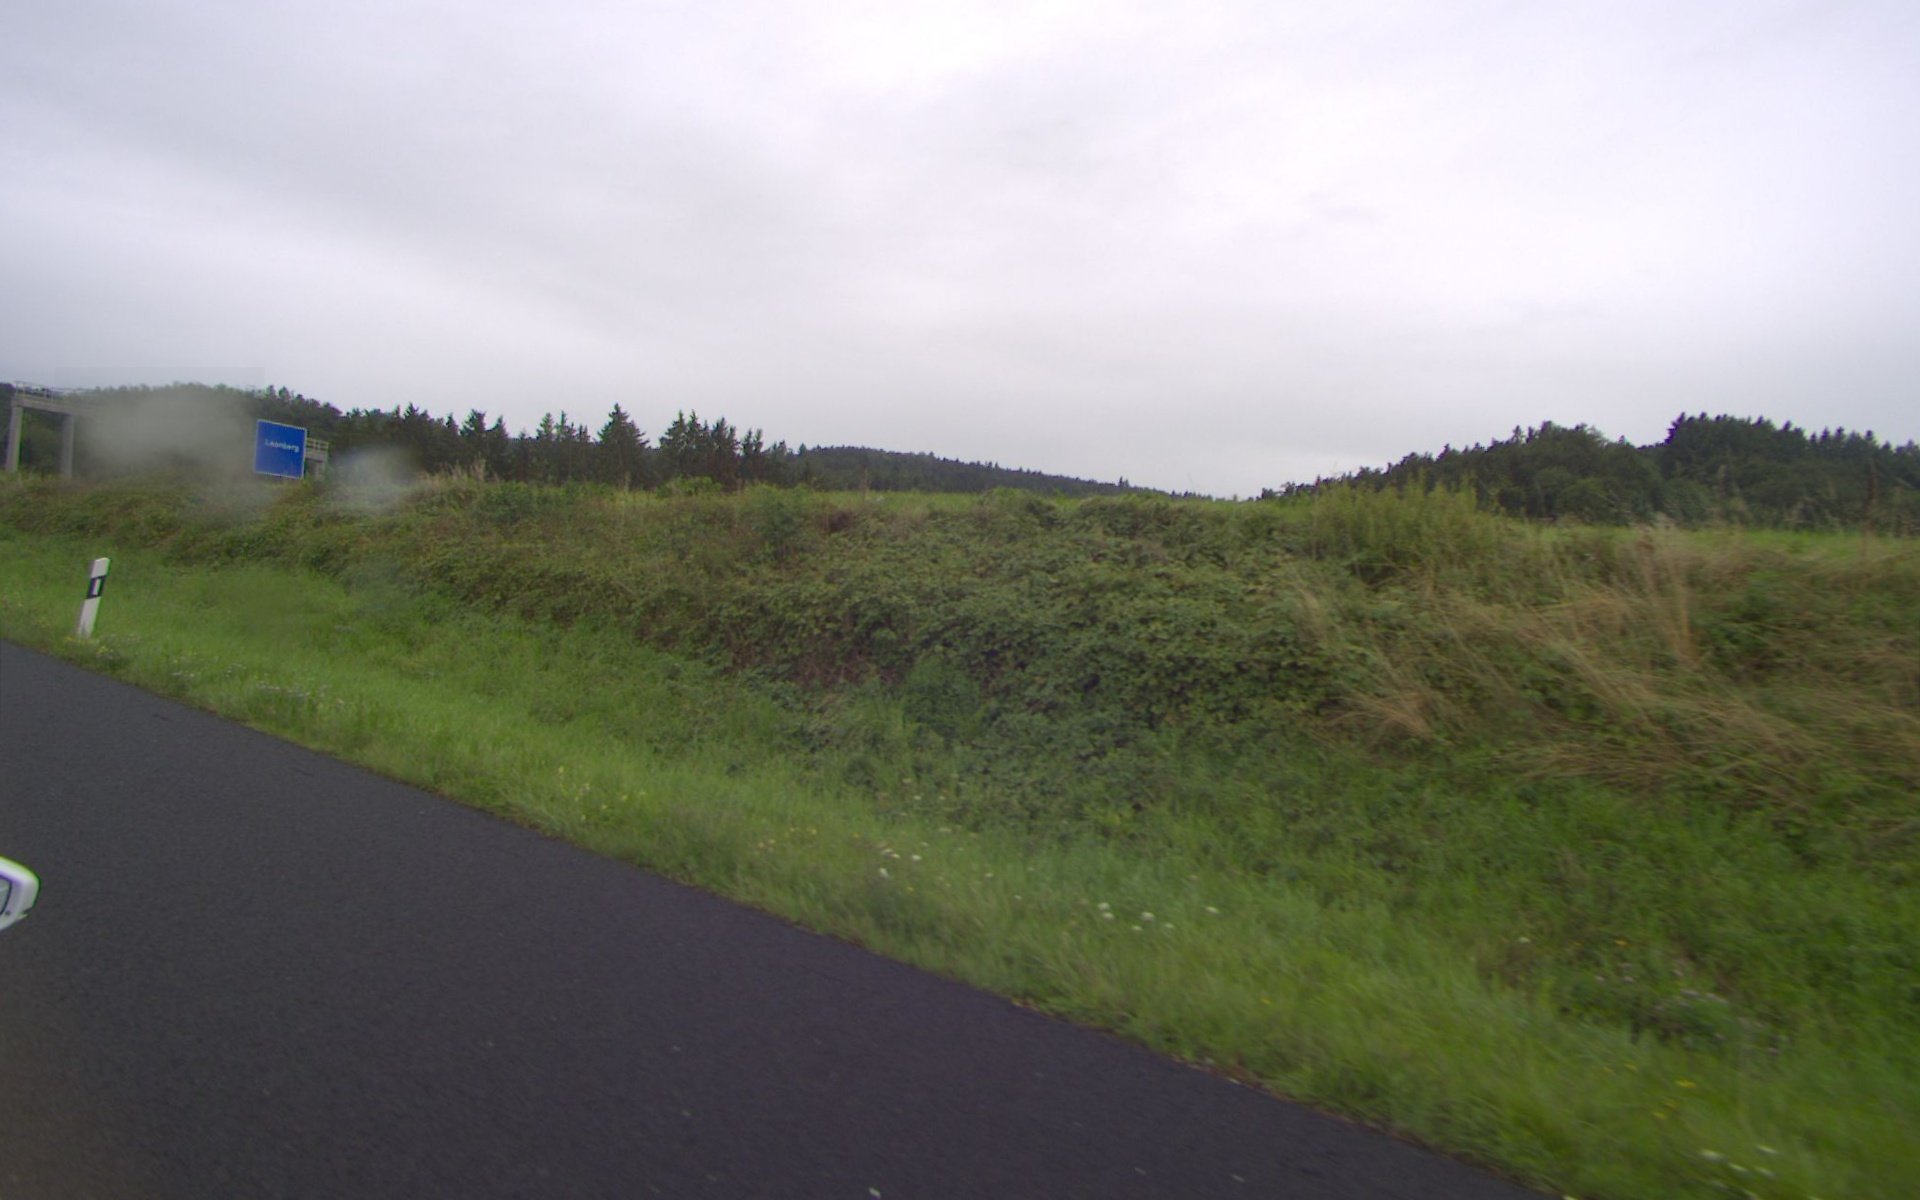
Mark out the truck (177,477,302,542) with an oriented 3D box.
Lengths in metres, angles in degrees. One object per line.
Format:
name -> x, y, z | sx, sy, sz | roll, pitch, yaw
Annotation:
truck -> -53.674, -6.746, 74.901 | 8.125, 3.701, 3.838 | 7, -2, 26
